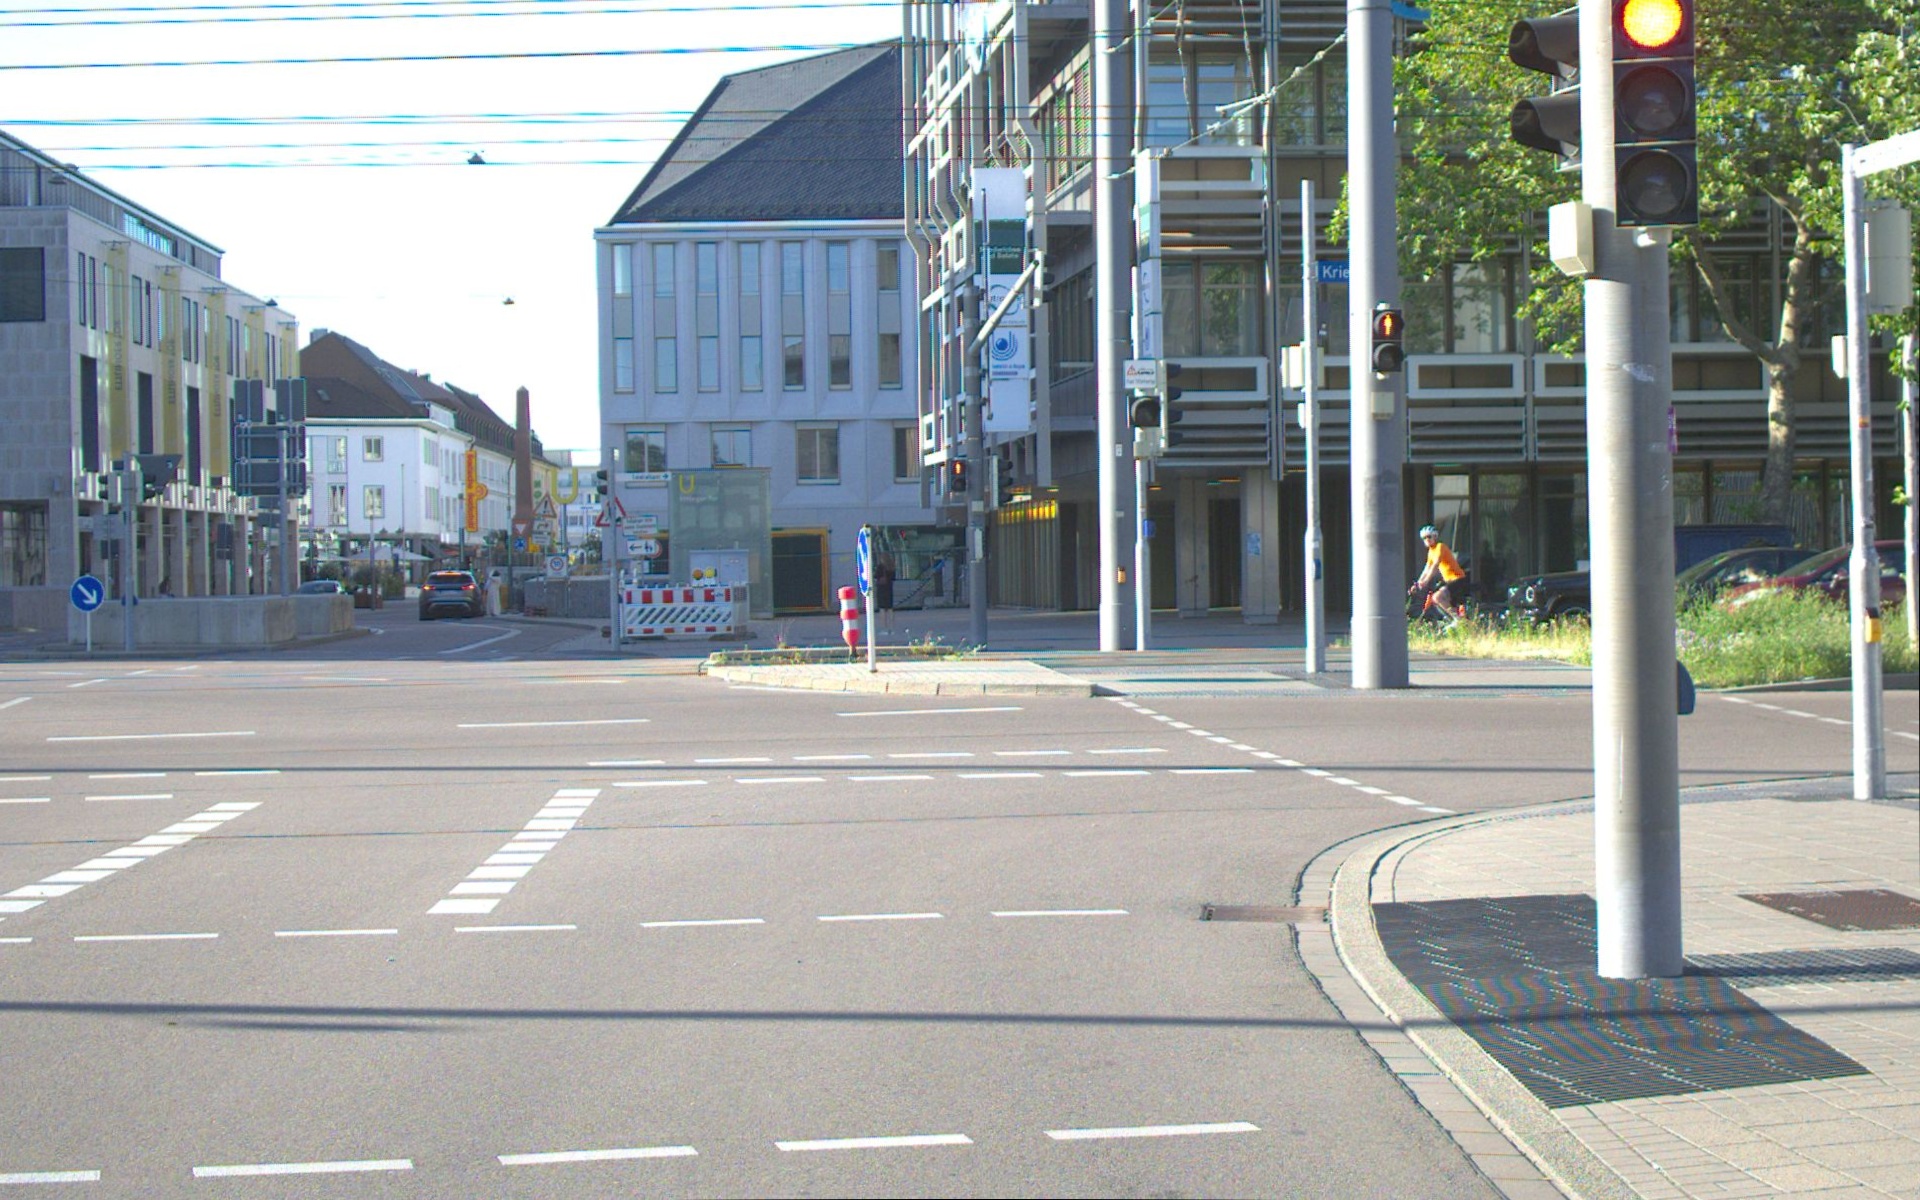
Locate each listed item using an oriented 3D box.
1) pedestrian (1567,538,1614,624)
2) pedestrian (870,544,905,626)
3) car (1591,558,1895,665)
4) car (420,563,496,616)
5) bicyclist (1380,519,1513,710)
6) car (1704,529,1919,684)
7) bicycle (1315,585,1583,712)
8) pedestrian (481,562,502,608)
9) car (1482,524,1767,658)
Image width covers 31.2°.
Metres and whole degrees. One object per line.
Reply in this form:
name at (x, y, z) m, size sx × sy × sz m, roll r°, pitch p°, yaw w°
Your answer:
pedestrian at (12.242, -0.363, 66.757) m, size 0.729 × 1.652 × 0.651 m, roll -1°, pitch 1°, yaw -7°
pedestrian at (-1.466, -0.306, 69.598) m, size 0.663 × 1.652 × 0.755 m, roll -1°, pitch 1°, yaw -3°
car at (11.499, 0.158, 50.660) m, size 3.986 × 1.503 × 1.868 m, roll 0°, pitch 1°, yaw -3°
car at (-15.803, -0.352, 108.421) m, size 2.199 × 1.601 × 4.327 m, roll -1°, pitch 1°, yaw -6°
bicyclist at (6.666, 0.190, 47.139) m, size 1.567 × 2.571 × 0.932 m, roll -1°, pitch 1°, yaw -9°
car at (12.292, 0.088, 46.408) m, size 3.986 × 2.007 × 2.000 m, roll 1°, pitch 0°, yaw -3°
bicycle at (6.698, 0.650, 47.145) m, size 3.490 × 1.653 × 0.932 m, roll -1°, pitch 1°, yaw -9°
pedestrian at (-14.750, -0.475, 108.250) m, size 0.609 × 1.406 × 0.570 m, roll -1°, pitch 1°, yaw -6°
car at (10.350, -0.143, 53.776) m, size 3.986 × 2.007 × 2.000 m, roll 1°, pitch 0°, yaw -3°
